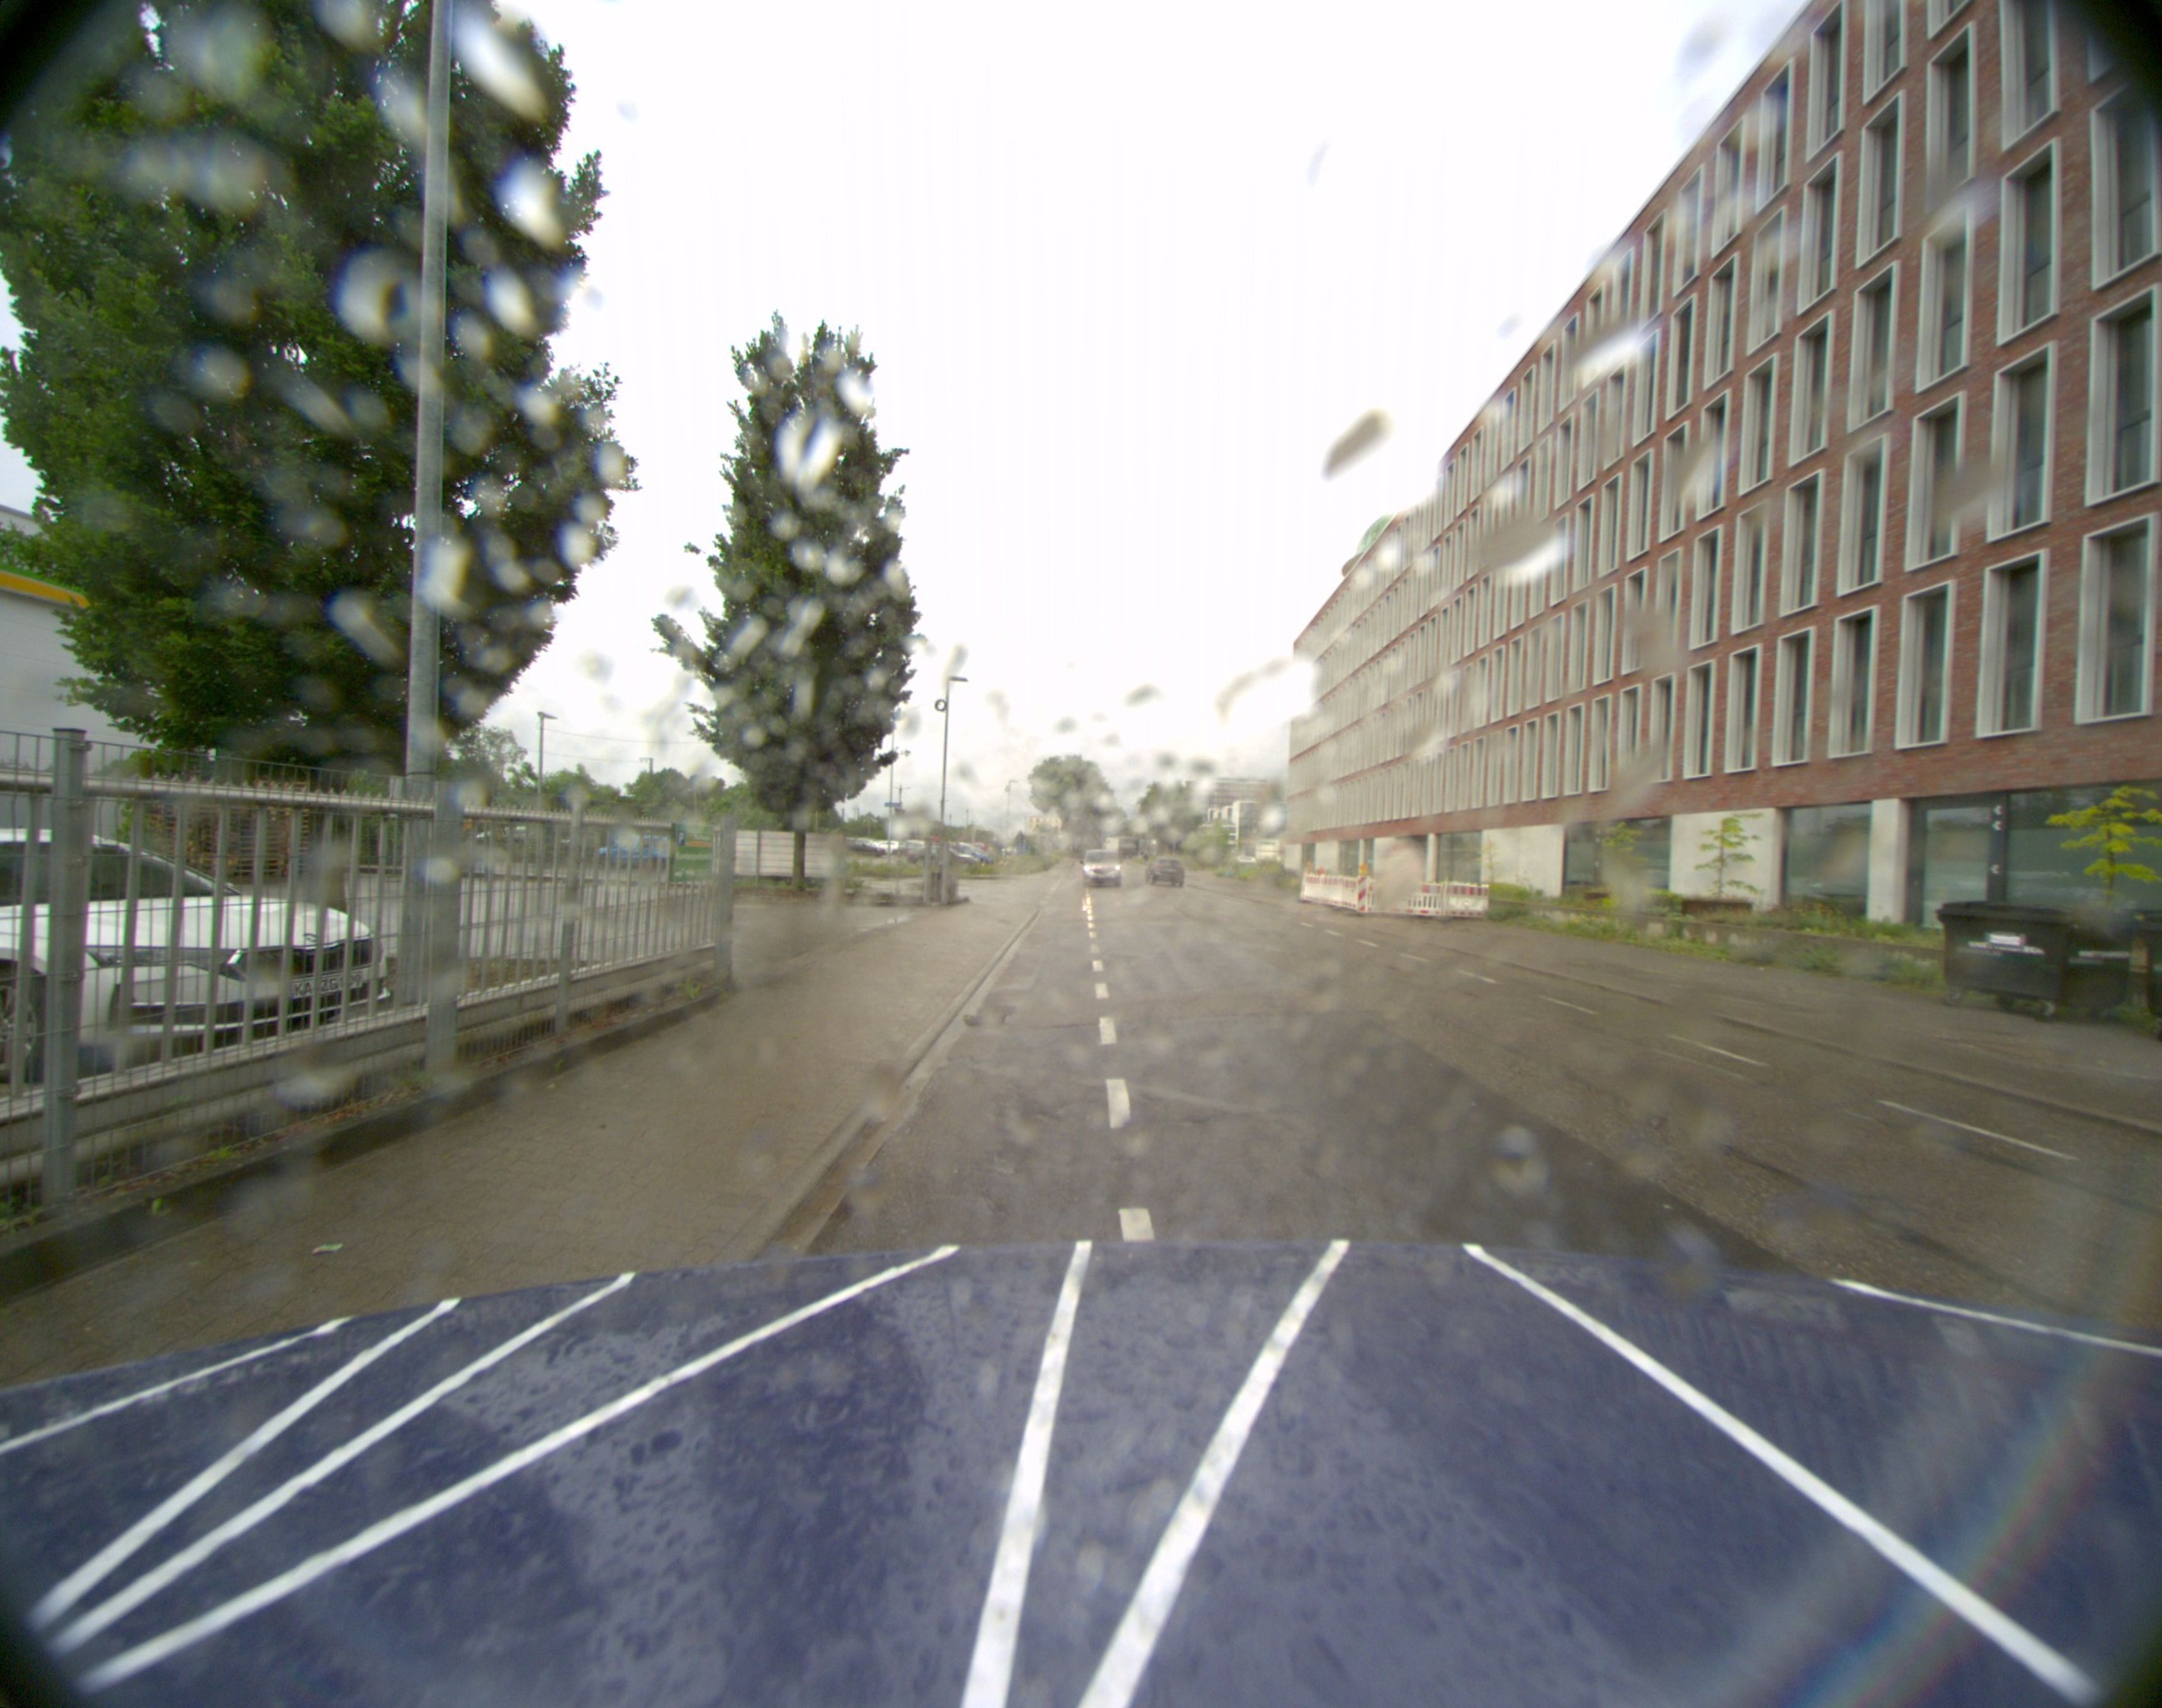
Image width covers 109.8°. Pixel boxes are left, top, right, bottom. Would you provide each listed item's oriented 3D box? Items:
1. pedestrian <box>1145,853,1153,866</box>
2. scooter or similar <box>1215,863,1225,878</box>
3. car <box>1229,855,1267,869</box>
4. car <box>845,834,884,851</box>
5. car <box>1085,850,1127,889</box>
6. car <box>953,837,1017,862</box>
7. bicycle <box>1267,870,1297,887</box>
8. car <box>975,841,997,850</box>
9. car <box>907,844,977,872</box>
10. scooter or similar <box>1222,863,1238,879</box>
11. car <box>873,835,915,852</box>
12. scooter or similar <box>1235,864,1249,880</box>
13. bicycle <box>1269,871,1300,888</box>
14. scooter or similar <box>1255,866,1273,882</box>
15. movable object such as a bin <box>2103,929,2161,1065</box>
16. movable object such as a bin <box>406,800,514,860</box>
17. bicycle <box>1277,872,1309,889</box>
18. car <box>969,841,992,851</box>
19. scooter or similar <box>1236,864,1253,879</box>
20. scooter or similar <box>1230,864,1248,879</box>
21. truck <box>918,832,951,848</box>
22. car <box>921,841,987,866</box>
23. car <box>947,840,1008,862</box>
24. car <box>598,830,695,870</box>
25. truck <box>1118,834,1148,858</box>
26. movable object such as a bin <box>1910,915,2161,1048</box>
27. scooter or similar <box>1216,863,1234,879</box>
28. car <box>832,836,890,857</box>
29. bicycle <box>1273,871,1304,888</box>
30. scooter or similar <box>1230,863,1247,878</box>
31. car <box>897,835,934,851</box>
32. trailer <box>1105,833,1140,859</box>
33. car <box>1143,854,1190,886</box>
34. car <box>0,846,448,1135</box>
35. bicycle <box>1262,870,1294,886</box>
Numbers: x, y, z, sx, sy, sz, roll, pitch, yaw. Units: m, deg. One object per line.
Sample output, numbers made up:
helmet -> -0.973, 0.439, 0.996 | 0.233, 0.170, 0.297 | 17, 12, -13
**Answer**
pedestrian -> 8.868, 0.710, 98.723 | 0.911, 1.708, 1.026 | 2, 2, 1
scooter or similar -> 11.777, 1.376, 64.310 | 0.467, 1.223, 1.320 | 3, 1, -2
car -> 22.382, 1.084, 102.061 | 4.533, 1.632, 1.999 | 2, 1, -2
car -> -25.879, -1.391, 90.976 | 4.071, 1.650, 1.831 | 4, 2, -1
car -> 1.148, 0.690, 36.362 | 1.838, 1.714, 4.172 | 2, 0, 0
car -> -7.713, -0.376, 61.511 | 4.691, 1.725, 2.128 | 3, 2, 5
bicycle -> 13.411, 1.642, 50.764 | 1.864, 1.071, 0.544 | 1, 1, -1
car -> -18.592, -1.633, 148.587 | 3.961, 1.529, 1.807 | 4, 2, 3
car -> -8.889, 0.240, 48.859 | 4.231, 1.392, 1.888 | 5, 2, -8
scooter or similar -> 12.357, 1.393, 63.005 | 0.468, 1.223, 1.317 | 3, 1, -28
car -> -19.730, -1.110, 80.402 | 3.838, 1.476, 1.928 | 5, 2, 3
scooter or similar -> 12.919, 1.426, 61.083 | 0.466, 1.223, 1.211 | 4, 1, 43
bicycle -> 13.413, 1.659, 50.139 | 1.864, 1.071, 0.544 | 1, 1, -1
scooter or similar -> 14.077, 1.526, 58.515 | 1.228, 1.201, 0.418 | 3, 1, 8
movable object such as a bin -> 11.420, 1.476, 7.263 | 1.375, 1.301, 1.451 | 2, 1, 22
movable object such as a bin -> -32.723, -1.241, 40.119 | 3.997, 2.975, 2.000 | 2, 1, 0
bicycle -> 13.475, 1.687, 48.415 | 1.864, 1.071, 0.544 | 1, 1, -1
car -> -18.911, -1.558, 142.999 | 4.075, 1.482, 1.925 | 4, 2, 3
scooter or similar -> 13.663, 1.458, 63.492 | 1.319, 1.171, 0.467 | 3, 1, 6
scooter or similar -> 12.899, 1.457, 62.055 | 1.321, 1.171, 0.467 | 3, 1, -11
truck -> -25.475, -2.432, 132.226 | 5.301, 2.354, 2.153 | 3, 1, 0
car -> -8.644, -0.058, 51.950 | 4.192, 1.501, 1.890 | 2, 2, 1
car -> -7.850, -0.220, 57.796 | 4.306, 1.508, 1.819 | 2, 2, 1
car -> -22.812, -0.220, 39.973 | 3.997, 1.911, 1.831 | 2, 0, -1
truck -> 10.395, -1.520, 151.774 | 3.295, 4.627, 6.046 | 4, 1, 31
movable object such as a bin -> 11.345, 1.466, 9.059 | 1.299, 1.301, 1.447 | 2, 1, -6
scooter or similar -> 11.688, 1.353, 61.693 | 1.317, 1.223, 0.468 | 4, 1, 30
car -> -19.417, -0.660, 67.258 | 4.633, 1.707, 2.017 | 1, 2, -5
bicycle -> 13.446, 1.672, 49.276 | 1.864, 1.071, 0.544 | 1, 1, -1
scooter or similar -> 13.296, 1.405, 64.057 | 1.319, 1.171, 0.467 | 3, 1, 6
car -> -19.880, -1.298, 91.282 | 3.911, 1.575, 1.786 | 5, 2, 3
trailer -> 8.128, -1.487, 145.789 | 3.297, 4.627, 13.751 | 3, 1, 17
car -> 4.809, 0.863, 43.274 | 1.765, 1.559, 4.146 | 4, 0, -6
car -> -7.303, 0.700, 4.950 | 4.715, 1.454, 1.890 | 2, 1, -1
bicycle -> 13.358, 1.642, 51.593 | 1.953, 1.071, 0.620 | 1, 1, -1
